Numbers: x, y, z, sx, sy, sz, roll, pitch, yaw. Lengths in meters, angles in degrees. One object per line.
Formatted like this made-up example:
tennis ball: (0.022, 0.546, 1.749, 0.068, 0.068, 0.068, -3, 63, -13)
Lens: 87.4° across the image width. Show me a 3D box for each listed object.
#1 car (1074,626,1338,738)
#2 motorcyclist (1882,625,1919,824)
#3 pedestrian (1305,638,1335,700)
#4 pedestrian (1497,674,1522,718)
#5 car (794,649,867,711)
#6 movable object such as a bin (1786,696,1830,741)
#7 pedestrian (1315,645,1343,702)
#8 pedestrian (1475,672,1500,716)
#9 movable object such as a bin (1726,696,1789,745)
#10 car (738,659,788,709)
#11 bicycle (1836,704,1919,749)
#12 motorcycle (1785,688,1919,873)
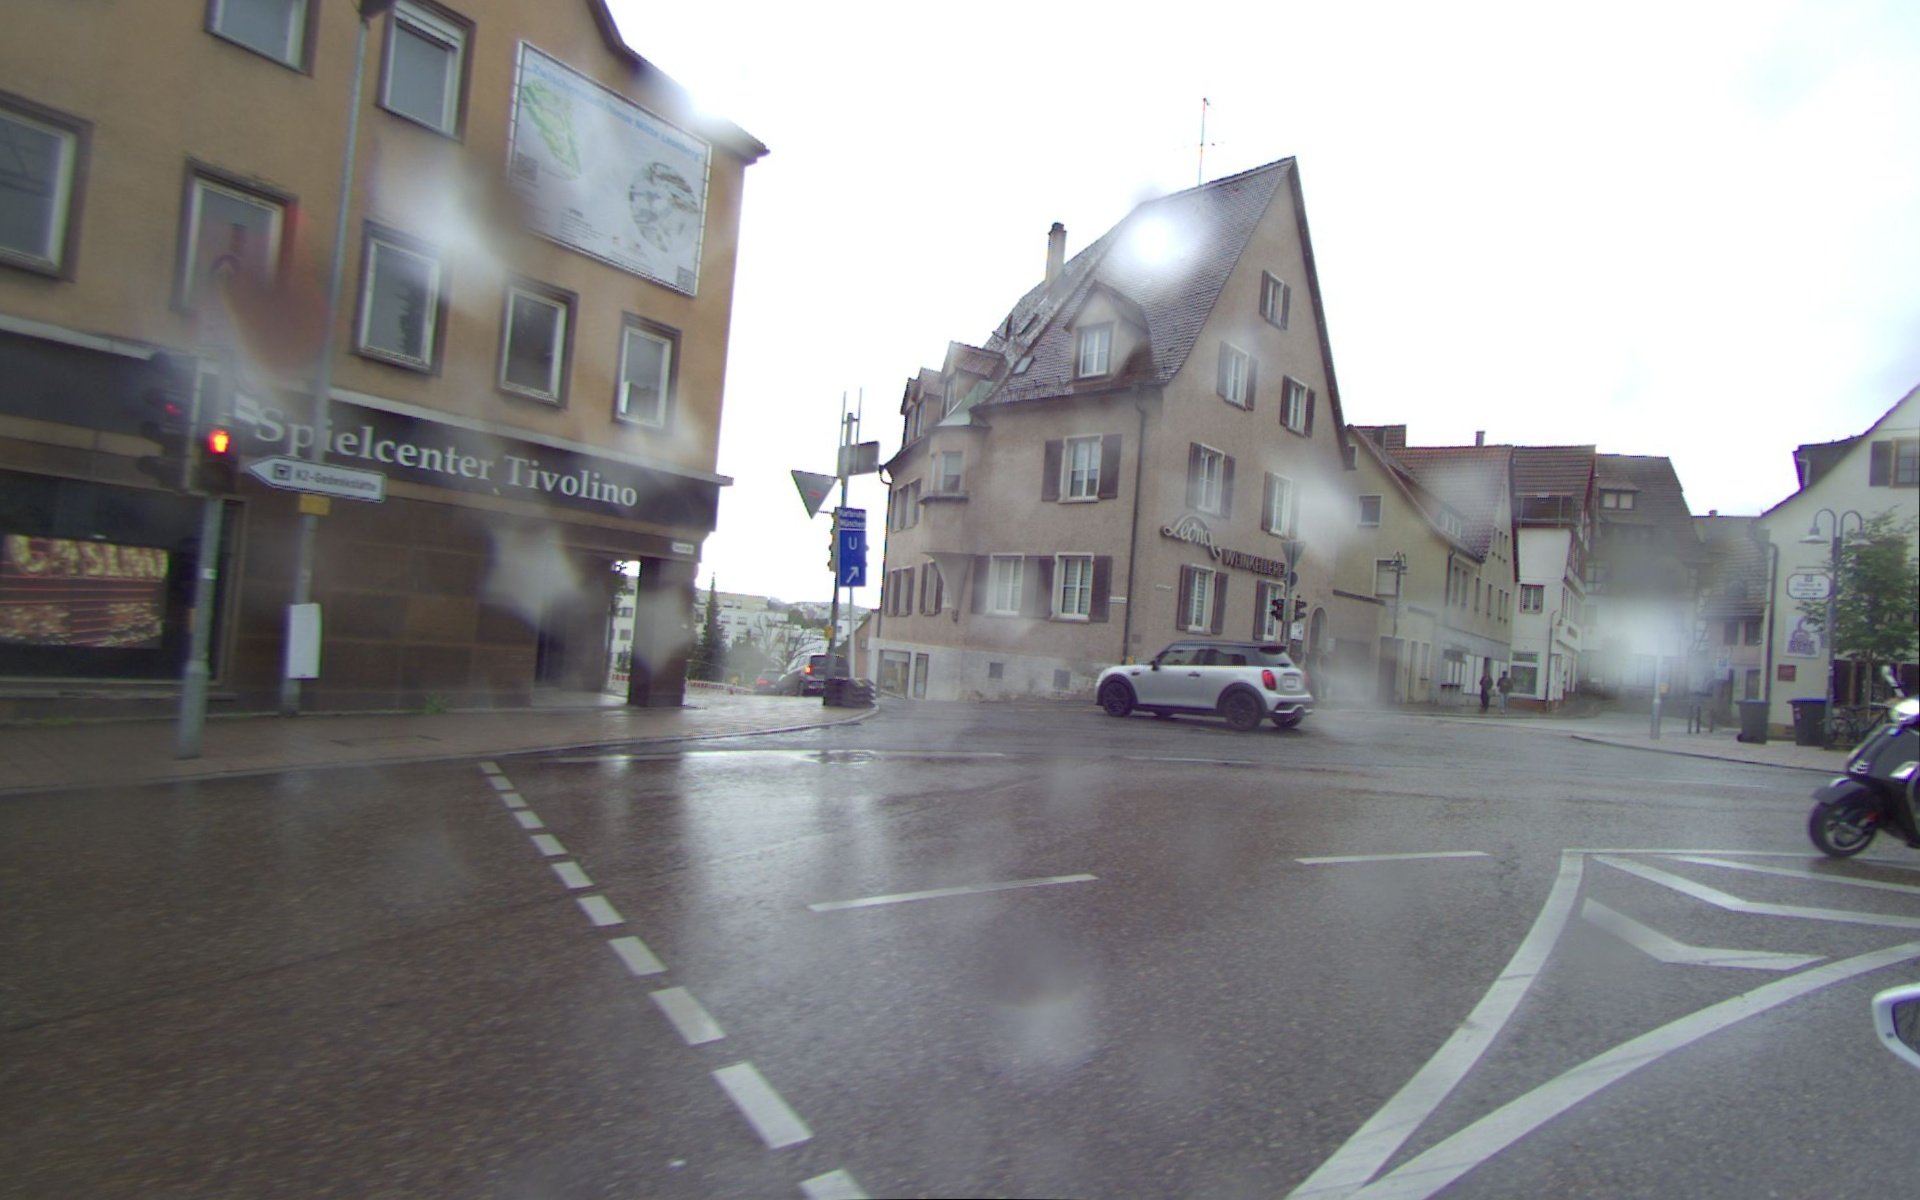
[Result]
car: (4.187, 1.338, 17.436, 3.944, 1.450, 1.989, 4, 0, 44)
motorcyclist: (6.976, 0.882, 6.807, 0.655, 1.372, 0.811, 3, 0, 5)
pedestrian: (10.997, 2.094, 30.670, 0.783, 1.854, 0.714, -1, -3, 25)
pedestrian: (22.655, 3.948, 41.436, 0.771, 1.754, 0.627, 0, -2, 44)
car: (-4.050, 2.426, 31.076, 1.512, 1.497, 3.375, 3, 1, -19)
movable object such as a bin: (18.711, 2.606, 22.181, 0.577, 0.913, 0.584, 3, -1, 24)
pedestrian: (11.655, 2.313, 31.734, 0.534, 1.751, 0.549, 6, -2, -41)
pedestrian: (22.046, 3.916, 42.001, 0.771, 1.754, 0.627, 0, -2, 44)
movable object such as a bin: (17.251, 2.596, 21.735, 0.775, 0.938, 0.724, 5, -3, -12)
car: (-8.098, 3.420, 41.547, 1.798, 1.609, 4.740, 4, -1, -10)
bicycle: (18.793, 2.585, 20.533, 1.408, 0.829, 0.338, 2, 1, 1)
motorcycle: (6.896, 1.231, 6.830, 1.878, 1.145, 0.771, 2, -2, 5)
